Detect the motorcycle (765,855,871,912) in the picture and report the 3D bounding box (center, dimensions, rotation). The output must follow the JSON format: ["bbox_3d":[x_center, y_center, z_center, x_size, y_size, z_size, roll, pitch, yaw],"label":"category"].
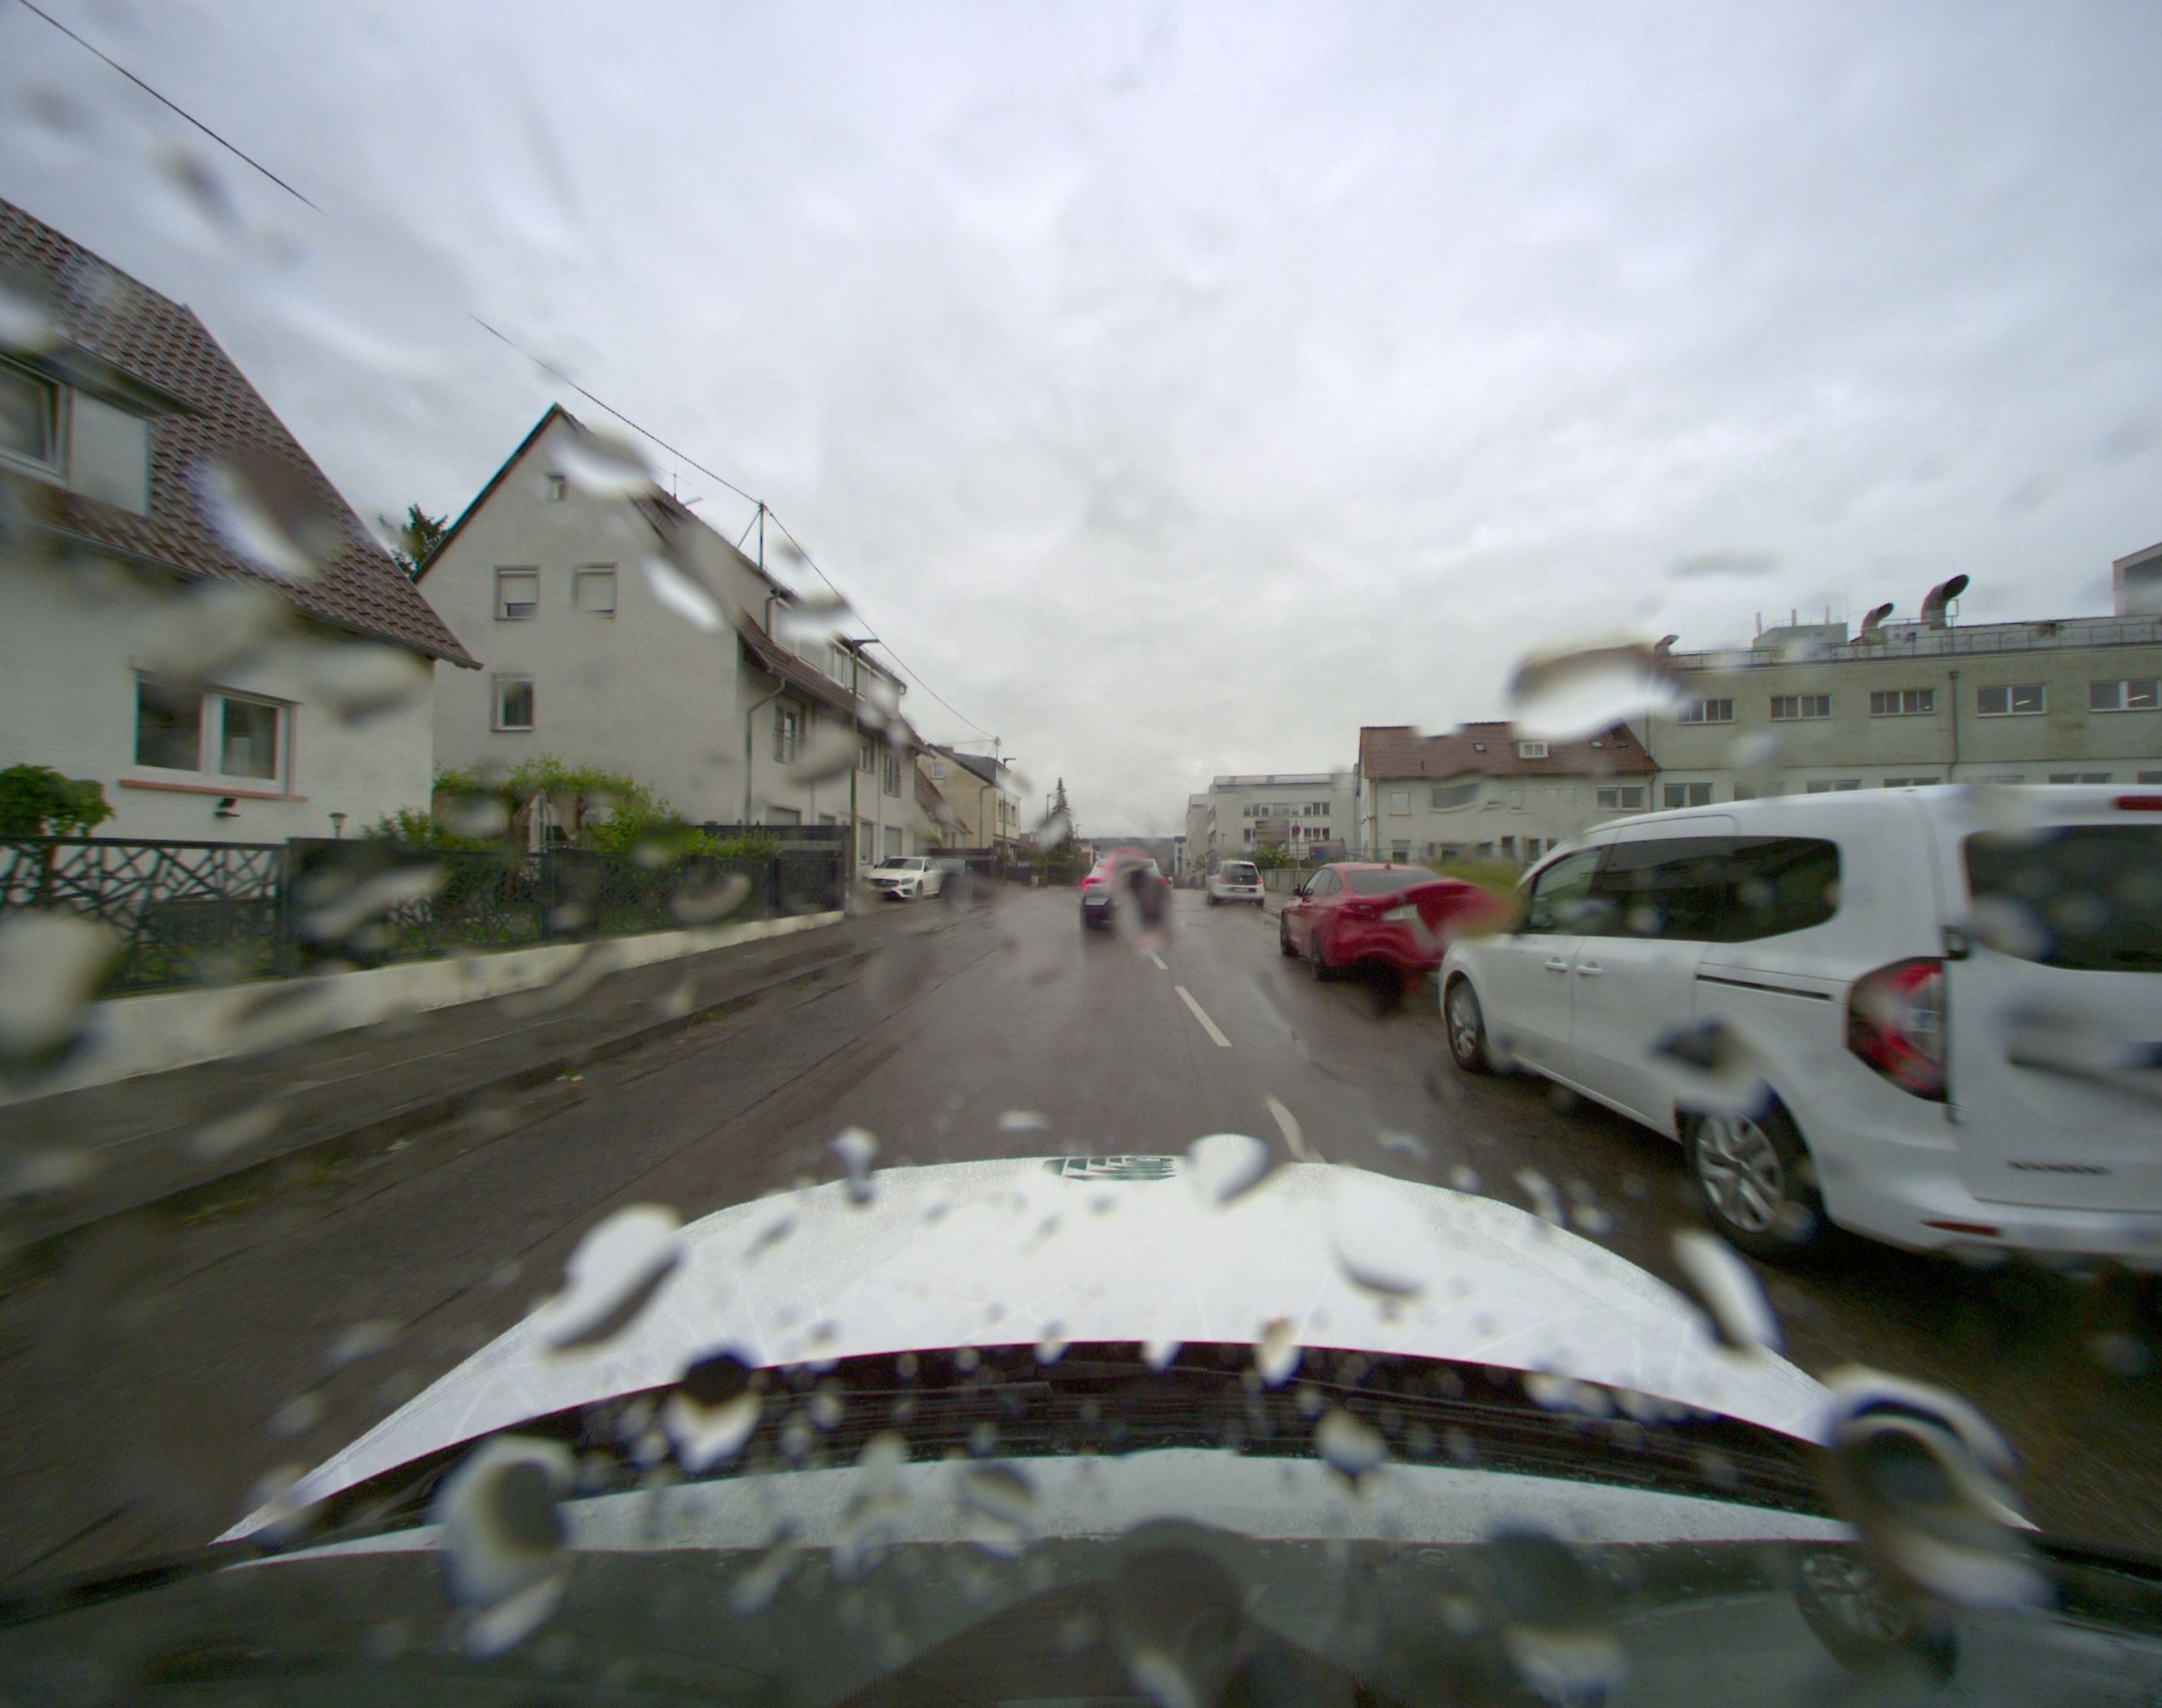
[{"bbox_3d":[-6.587,0.724,20.432,2.351,1.273,0.737,3,-1,4],"label":"motorcycle"}]

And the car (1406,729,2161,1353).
[{"bbox_3d":[3.529,0.563,4.672,1.761,1.825,4.579,1,0,4],"label":"car"}]

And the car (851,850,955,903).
[{"bbox_3d":[-5.852,0.704,27.437,1.984,1.510,4.901,3,0,4],"label":"car"}]

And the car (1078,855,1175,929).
[{"bbox_3d":[0.998,0.792,19.150,1.986,1.502,4.671,0,0,1],"label":"car"}]

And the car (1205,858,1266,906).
[{"bbox_3d":[5.387,0.946,28.762,1.674,1.557,3.678,1,0,4],"label":"car"}]

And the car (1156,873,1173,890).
[{"bbox_3d":[11.241,3.735,109.927,1.986,2.014,3.999,-1,-4,1],"label":"car"}]

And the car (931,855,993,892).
[{"bbox_3d":[-4.970,0.767,34.669,1.820,1.368,4.570,3,0,1],"label":"car"}]

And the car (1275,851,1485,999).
[{"bbox_3d":[3.837,0.785,11.286,1.634,1.575,4.651,1,0,6],"label":"car"}]
